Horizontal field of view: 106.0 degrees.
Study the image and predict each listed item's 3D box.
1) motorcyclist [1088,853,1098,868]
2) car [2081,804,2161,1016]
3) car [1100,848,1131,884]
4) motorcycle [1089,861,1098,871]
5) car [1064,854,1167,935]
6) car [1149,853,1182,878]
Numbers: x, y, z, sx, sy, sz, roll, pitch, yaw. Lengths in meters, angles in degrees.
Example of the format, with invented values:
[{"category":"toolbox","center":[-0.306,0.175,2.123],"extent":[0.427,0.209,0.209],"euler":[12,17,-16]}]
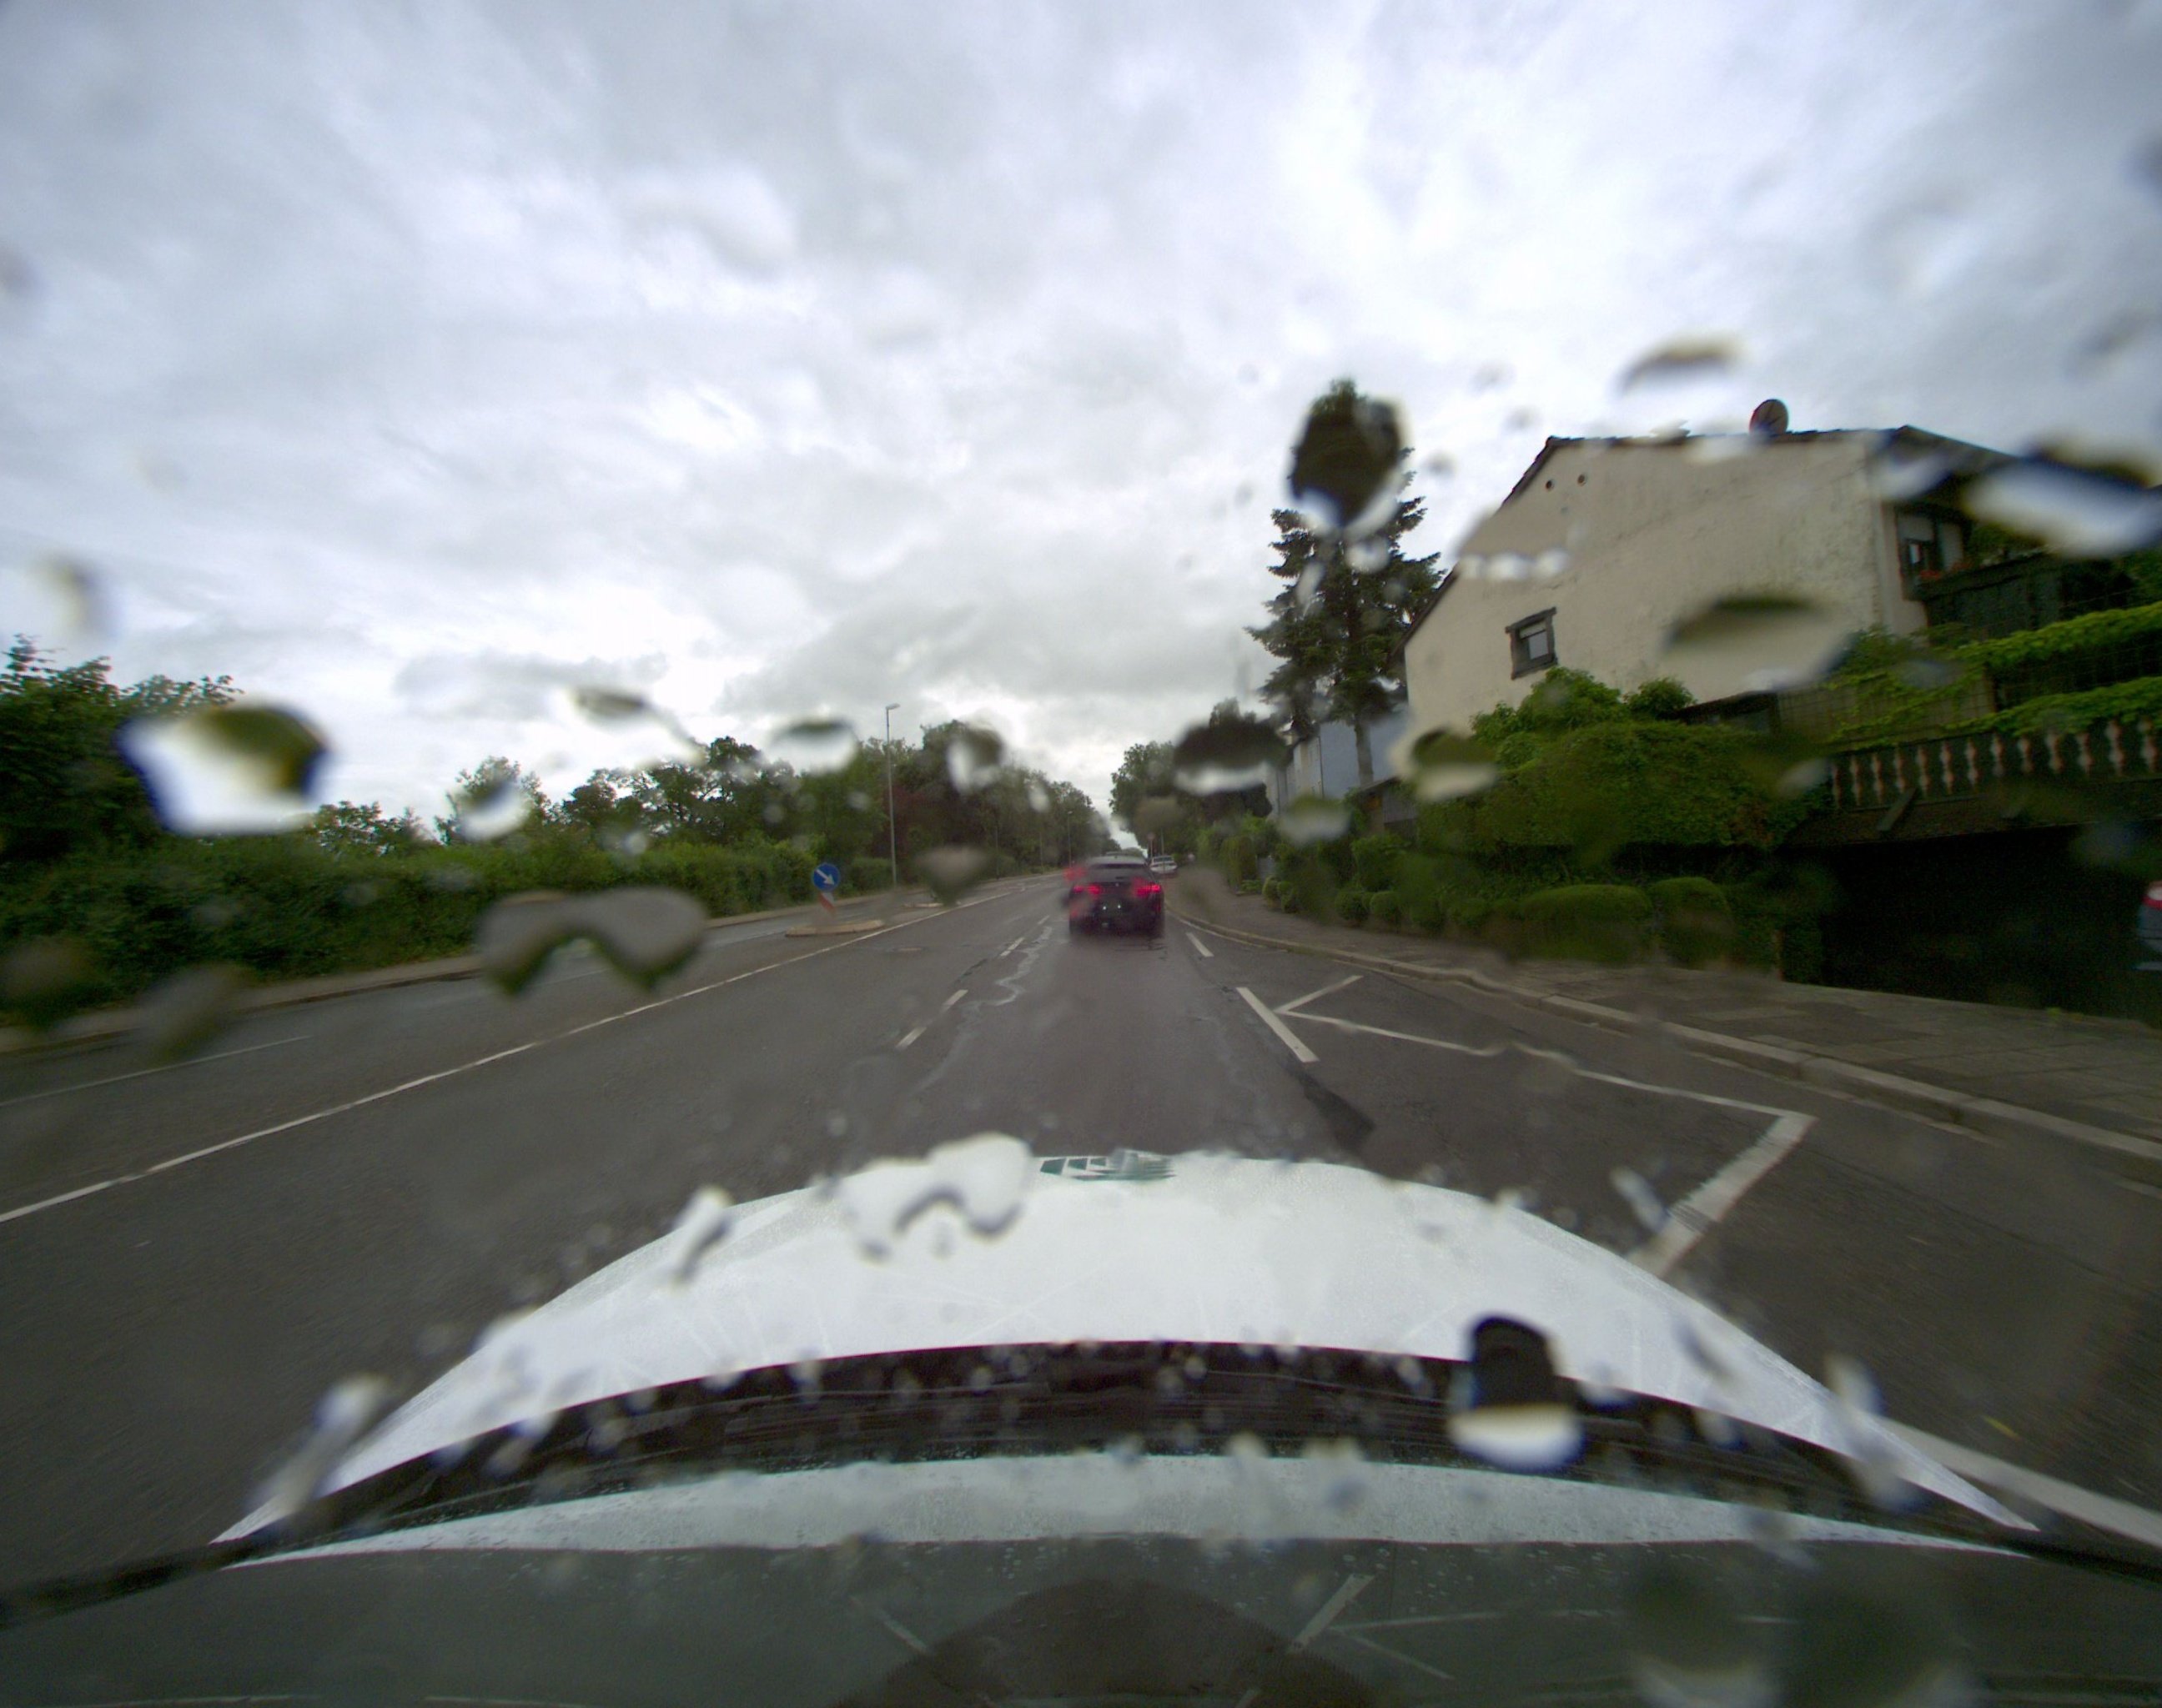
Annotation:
[{"category":"motorcyclist","center":[1.336,0.708,88.773],"extent":[1.035,1.567,0.855],"euler":[-1,-1,1]},{"category":"car","center":[8.551,0.438,5.138],"extent":[3.709,1.298,1.760],"euler":[4,-3,-21]},{"category":"car","center":[1.942,0.645,46.394],"extent":[1.623,1.833,4.002],"euler":[-3,0,2]},{"category":"motorcycle","center":[1.342,1.284,88.716],"extent":[0.872,1.124,2.742],"euler":[-1,-1,2]},{"category":"car","center":[0.746,0.747,17.066],"extent":[1.889,1.489,4.003],"euler":[0,0,3]},{"category":"car","center":[5.421,0.709,52.753],"extent":[1.926,1.442,4.413],"euler":[-3,0,4]}]
